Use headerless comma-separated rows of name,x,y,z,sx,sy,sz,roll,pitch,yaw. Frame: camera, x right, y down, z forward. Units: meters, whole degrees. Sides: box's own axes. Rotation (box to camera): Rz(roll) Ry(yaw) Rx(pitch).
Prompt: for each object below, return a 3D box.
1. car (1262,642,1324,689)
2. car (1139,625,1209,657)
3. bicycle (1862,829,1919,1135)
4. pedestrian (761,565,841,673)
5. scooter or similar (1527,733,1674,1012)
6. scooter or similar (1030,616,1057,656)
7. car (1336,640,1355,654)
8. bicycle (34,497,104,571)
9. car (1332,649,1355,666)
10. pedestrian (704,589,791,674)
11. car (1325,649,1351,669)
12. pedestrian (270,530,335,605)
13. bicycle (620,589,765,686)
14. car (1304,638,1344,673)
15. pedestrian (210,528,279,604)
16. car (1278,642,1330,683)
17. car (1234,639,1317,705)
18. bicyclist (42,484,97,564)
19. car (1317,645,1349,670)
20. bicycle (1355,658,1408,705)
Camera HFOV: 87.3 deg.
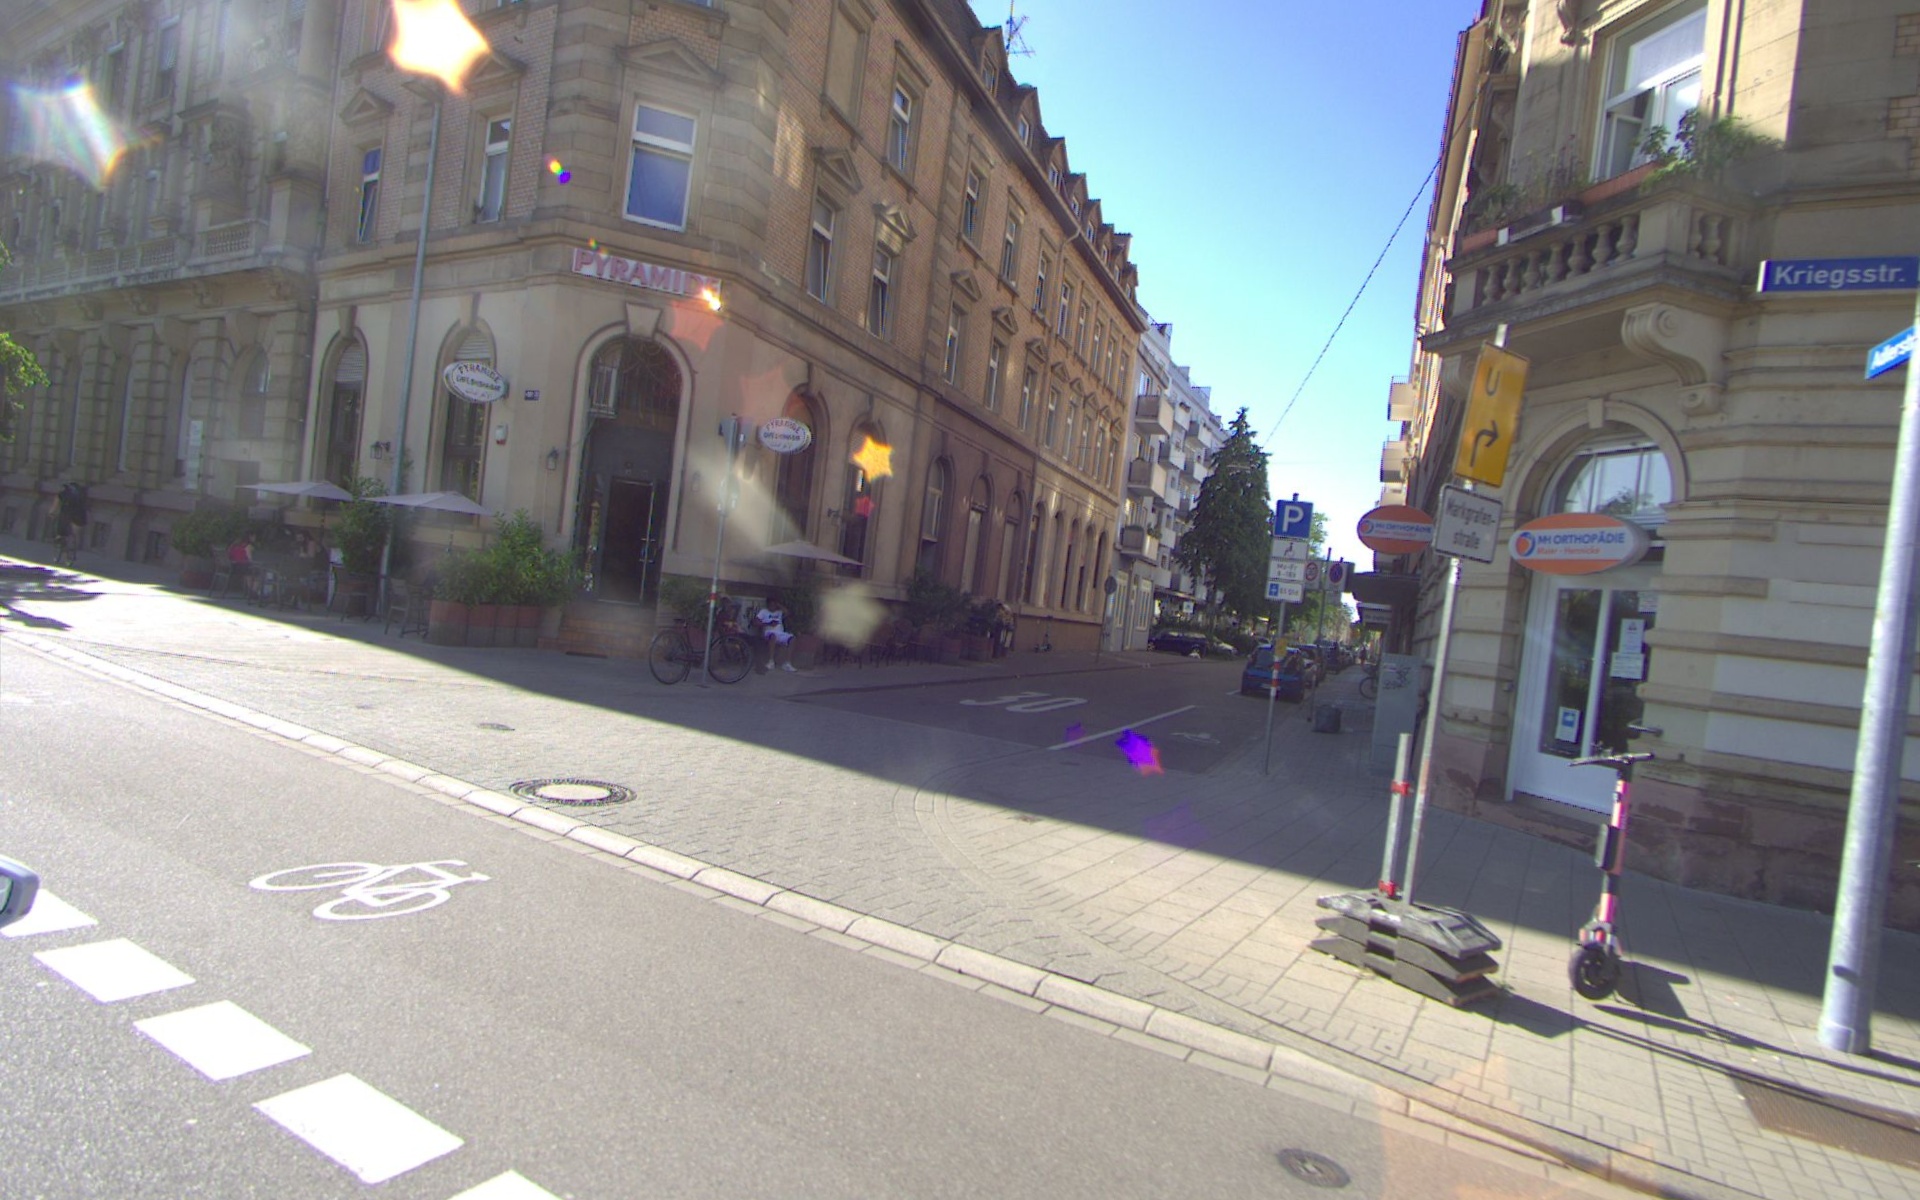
car,12.265,2.376,36.954,1.769,1.351,3.999,9,1,22
car,11.897,2.260,55.993,3.294,1.299,1.706,7,0,-7
bicycle,4.350,1.607,4.242,0.598,0.956,1.668,8,2,38
pedestrian,-2.809,0.347,17.847,0.852,1.782,0.909,7,0,24
scooter or similar,3.373,1.351,5.264,0.413,1.205,1.110,8,2,38
scooter or similar,2.761,1.187,33.170,0.344,1.237,1.526,7,0,20
car,46.663,5.745,121.750,1.769,1.450,3.771,7,0,23
bicycle,-18.283,-1.359,20.630,1.869,1.349,0.614,7,5,33
car,37.624,5.627,98.616,1.769,1.450,3.771,7,0,23
pedestrian,-3.426,0.515,16.284,0.917,1.229,0.852,7,0,25
car,31.653,4.949,84.171,1.769,1.450,3.771,7,0,23
pedestrian,-11.741,-0.578,17.971,0.624,1.253,0.706,7,3,31
bicycle,-3.696,0.556,14.037,0.643,1.186,1.818,11,3,35
car,20.614,3.148,56.939,1.769,1.686,3.771,7,0,23
pedestrian,-12.214,-0.575,17.180,0.624,1.194,0.706,7,2,31
car,14.601,2.613,42.615,1.769,1.450,3.772,7,0,22
car,8.964,1.984,28.404,1.769,1.437,3.999,9,1,22
bicyclist,-18.222,-1.554,20.579,0.787,1.552,0.659,7,5,33
car,25.572,3.933,68.915,1.769,1.450,3.771,7,0,23
bicycle,12.524,2.397,29.929,0.621,1.193,2.013,7,0,1
